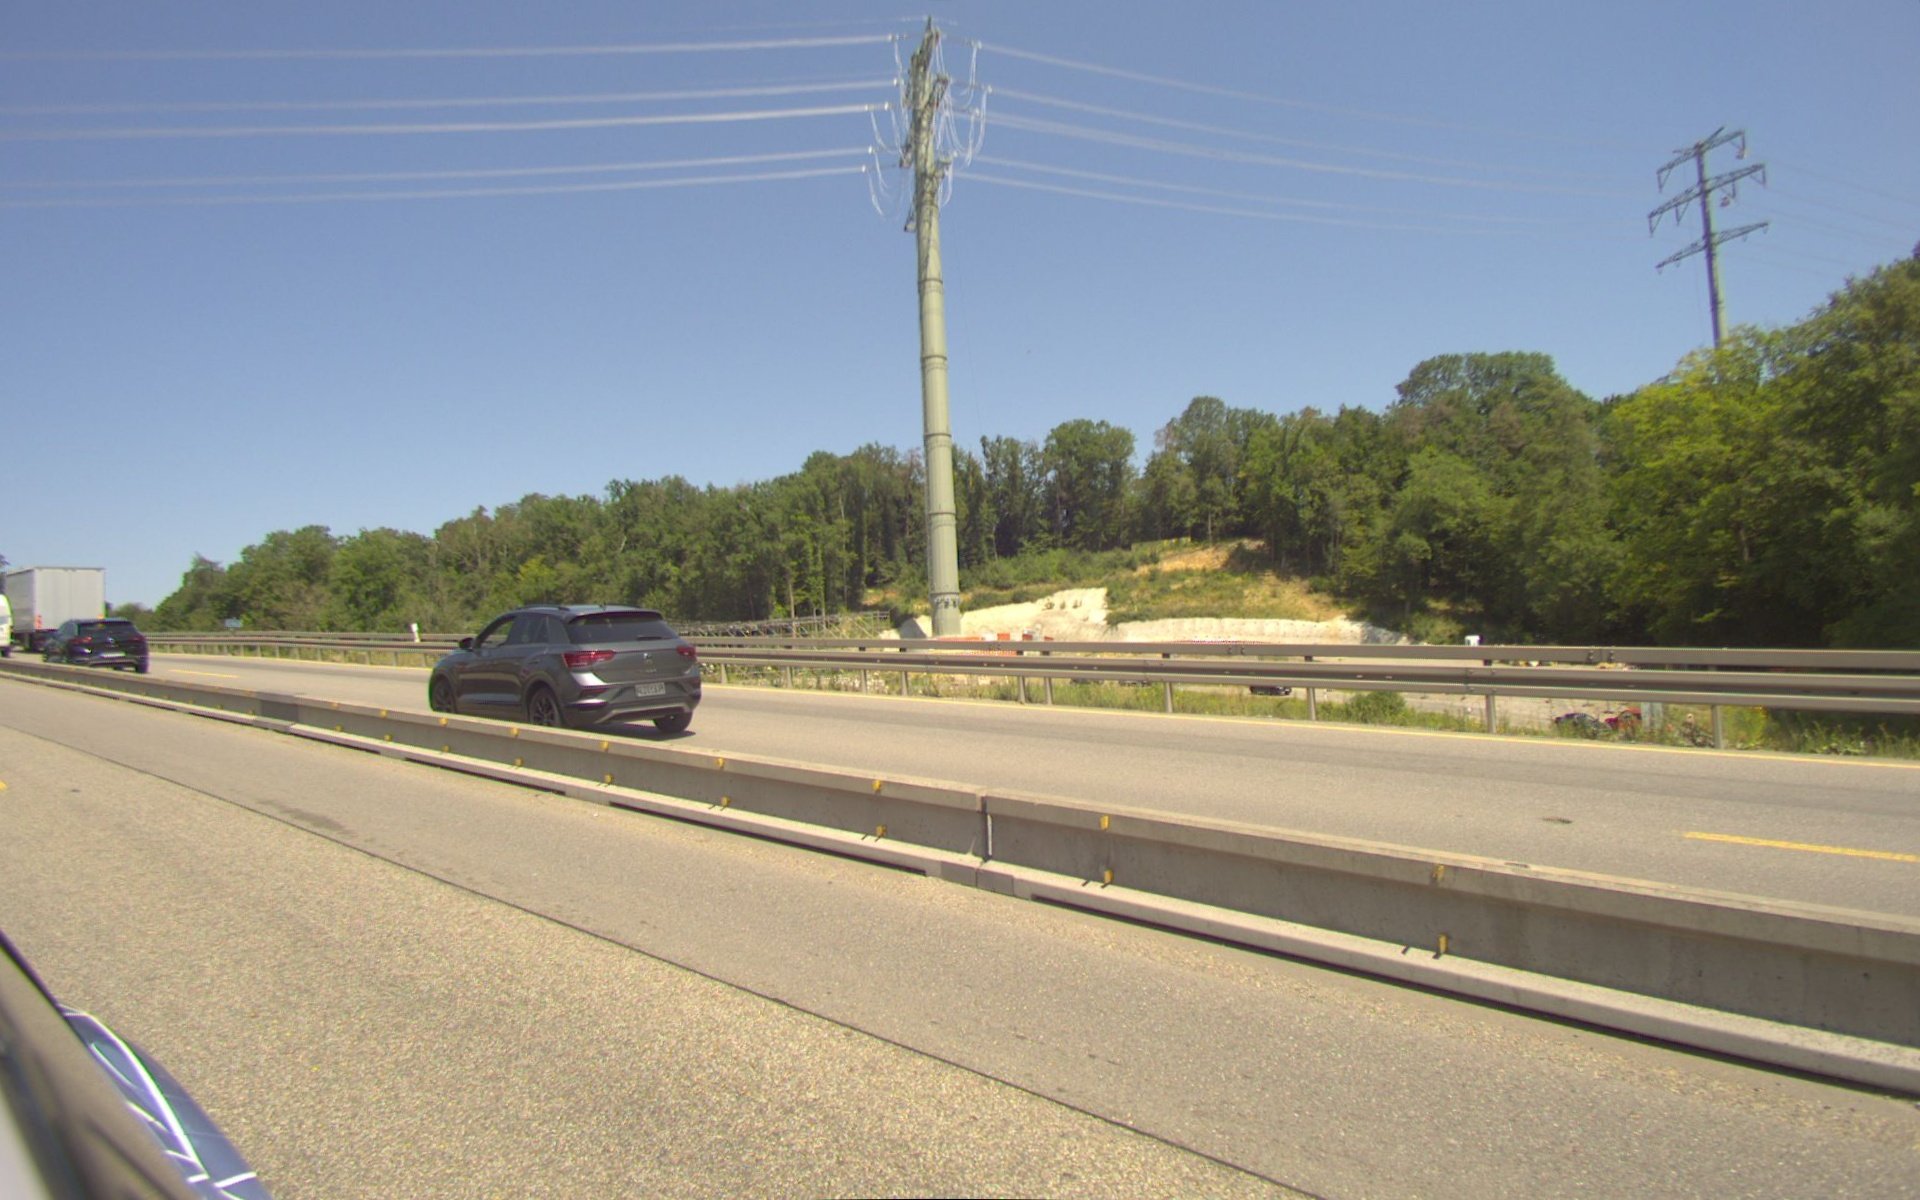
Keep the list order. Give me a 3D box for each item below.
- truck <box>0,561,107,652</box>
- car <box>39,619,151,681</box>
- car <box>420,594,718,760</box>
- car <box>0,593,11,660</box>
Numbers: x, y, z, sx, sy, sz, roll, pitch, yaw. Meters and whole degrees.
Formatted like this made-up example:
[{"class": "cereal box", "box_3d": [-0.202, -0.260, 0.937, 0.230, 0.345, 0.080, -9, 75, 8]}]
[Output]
[{"class": "truck", "box_3d": [-44.626, 0.258, 49.081, 10.536, 4.030, 2.774, 0, 1, 38]}, {"class": "car", "box_3d": [-23.985, 1.346, 28.019, 4.032, 1.563, 1.712, -2, 0, 40]}, {"class": "car", "box_3d": [-4.811, 0.812, 12.182, 4.000, 1.654, 1.720, -1, 0, 42]}, {"class": "car", "box_3d": [-41.711, 1.096, 42.312, 6.651, 2.700, 1.951, -1, 0, 38]}]
